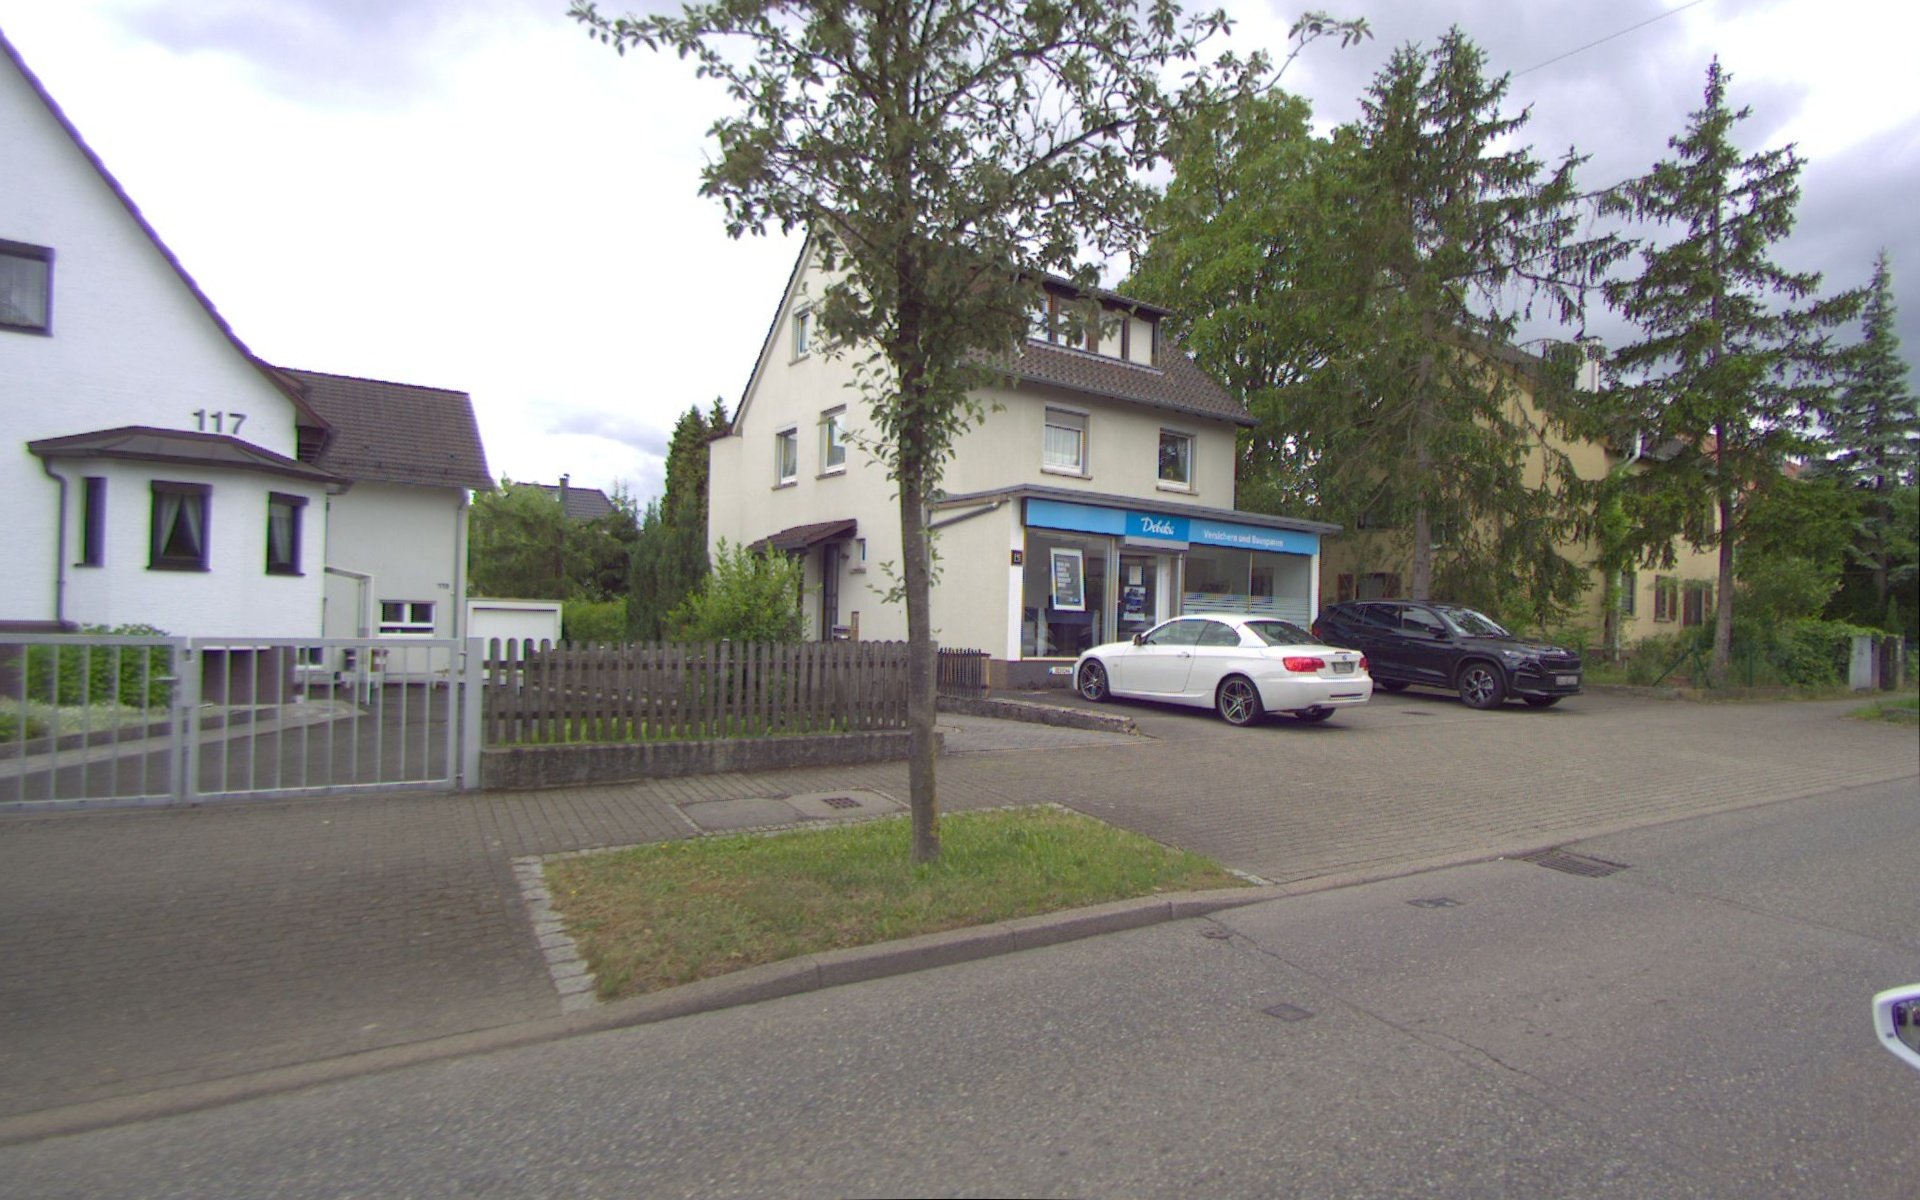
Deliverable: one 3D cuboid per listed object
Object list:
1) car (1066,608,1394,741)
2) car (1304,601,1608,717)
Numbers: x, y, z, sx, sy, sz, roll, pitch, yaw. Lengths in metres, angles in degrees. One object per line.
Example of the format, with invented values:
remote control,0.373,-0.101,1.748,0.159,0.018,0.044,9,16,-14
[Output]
car,3.587,0.916,14.083,1.798,1.386,4.249,2,1,-35
car,8.271,0.900,17.192,1.949,1.639,4.315,2,0,-28
